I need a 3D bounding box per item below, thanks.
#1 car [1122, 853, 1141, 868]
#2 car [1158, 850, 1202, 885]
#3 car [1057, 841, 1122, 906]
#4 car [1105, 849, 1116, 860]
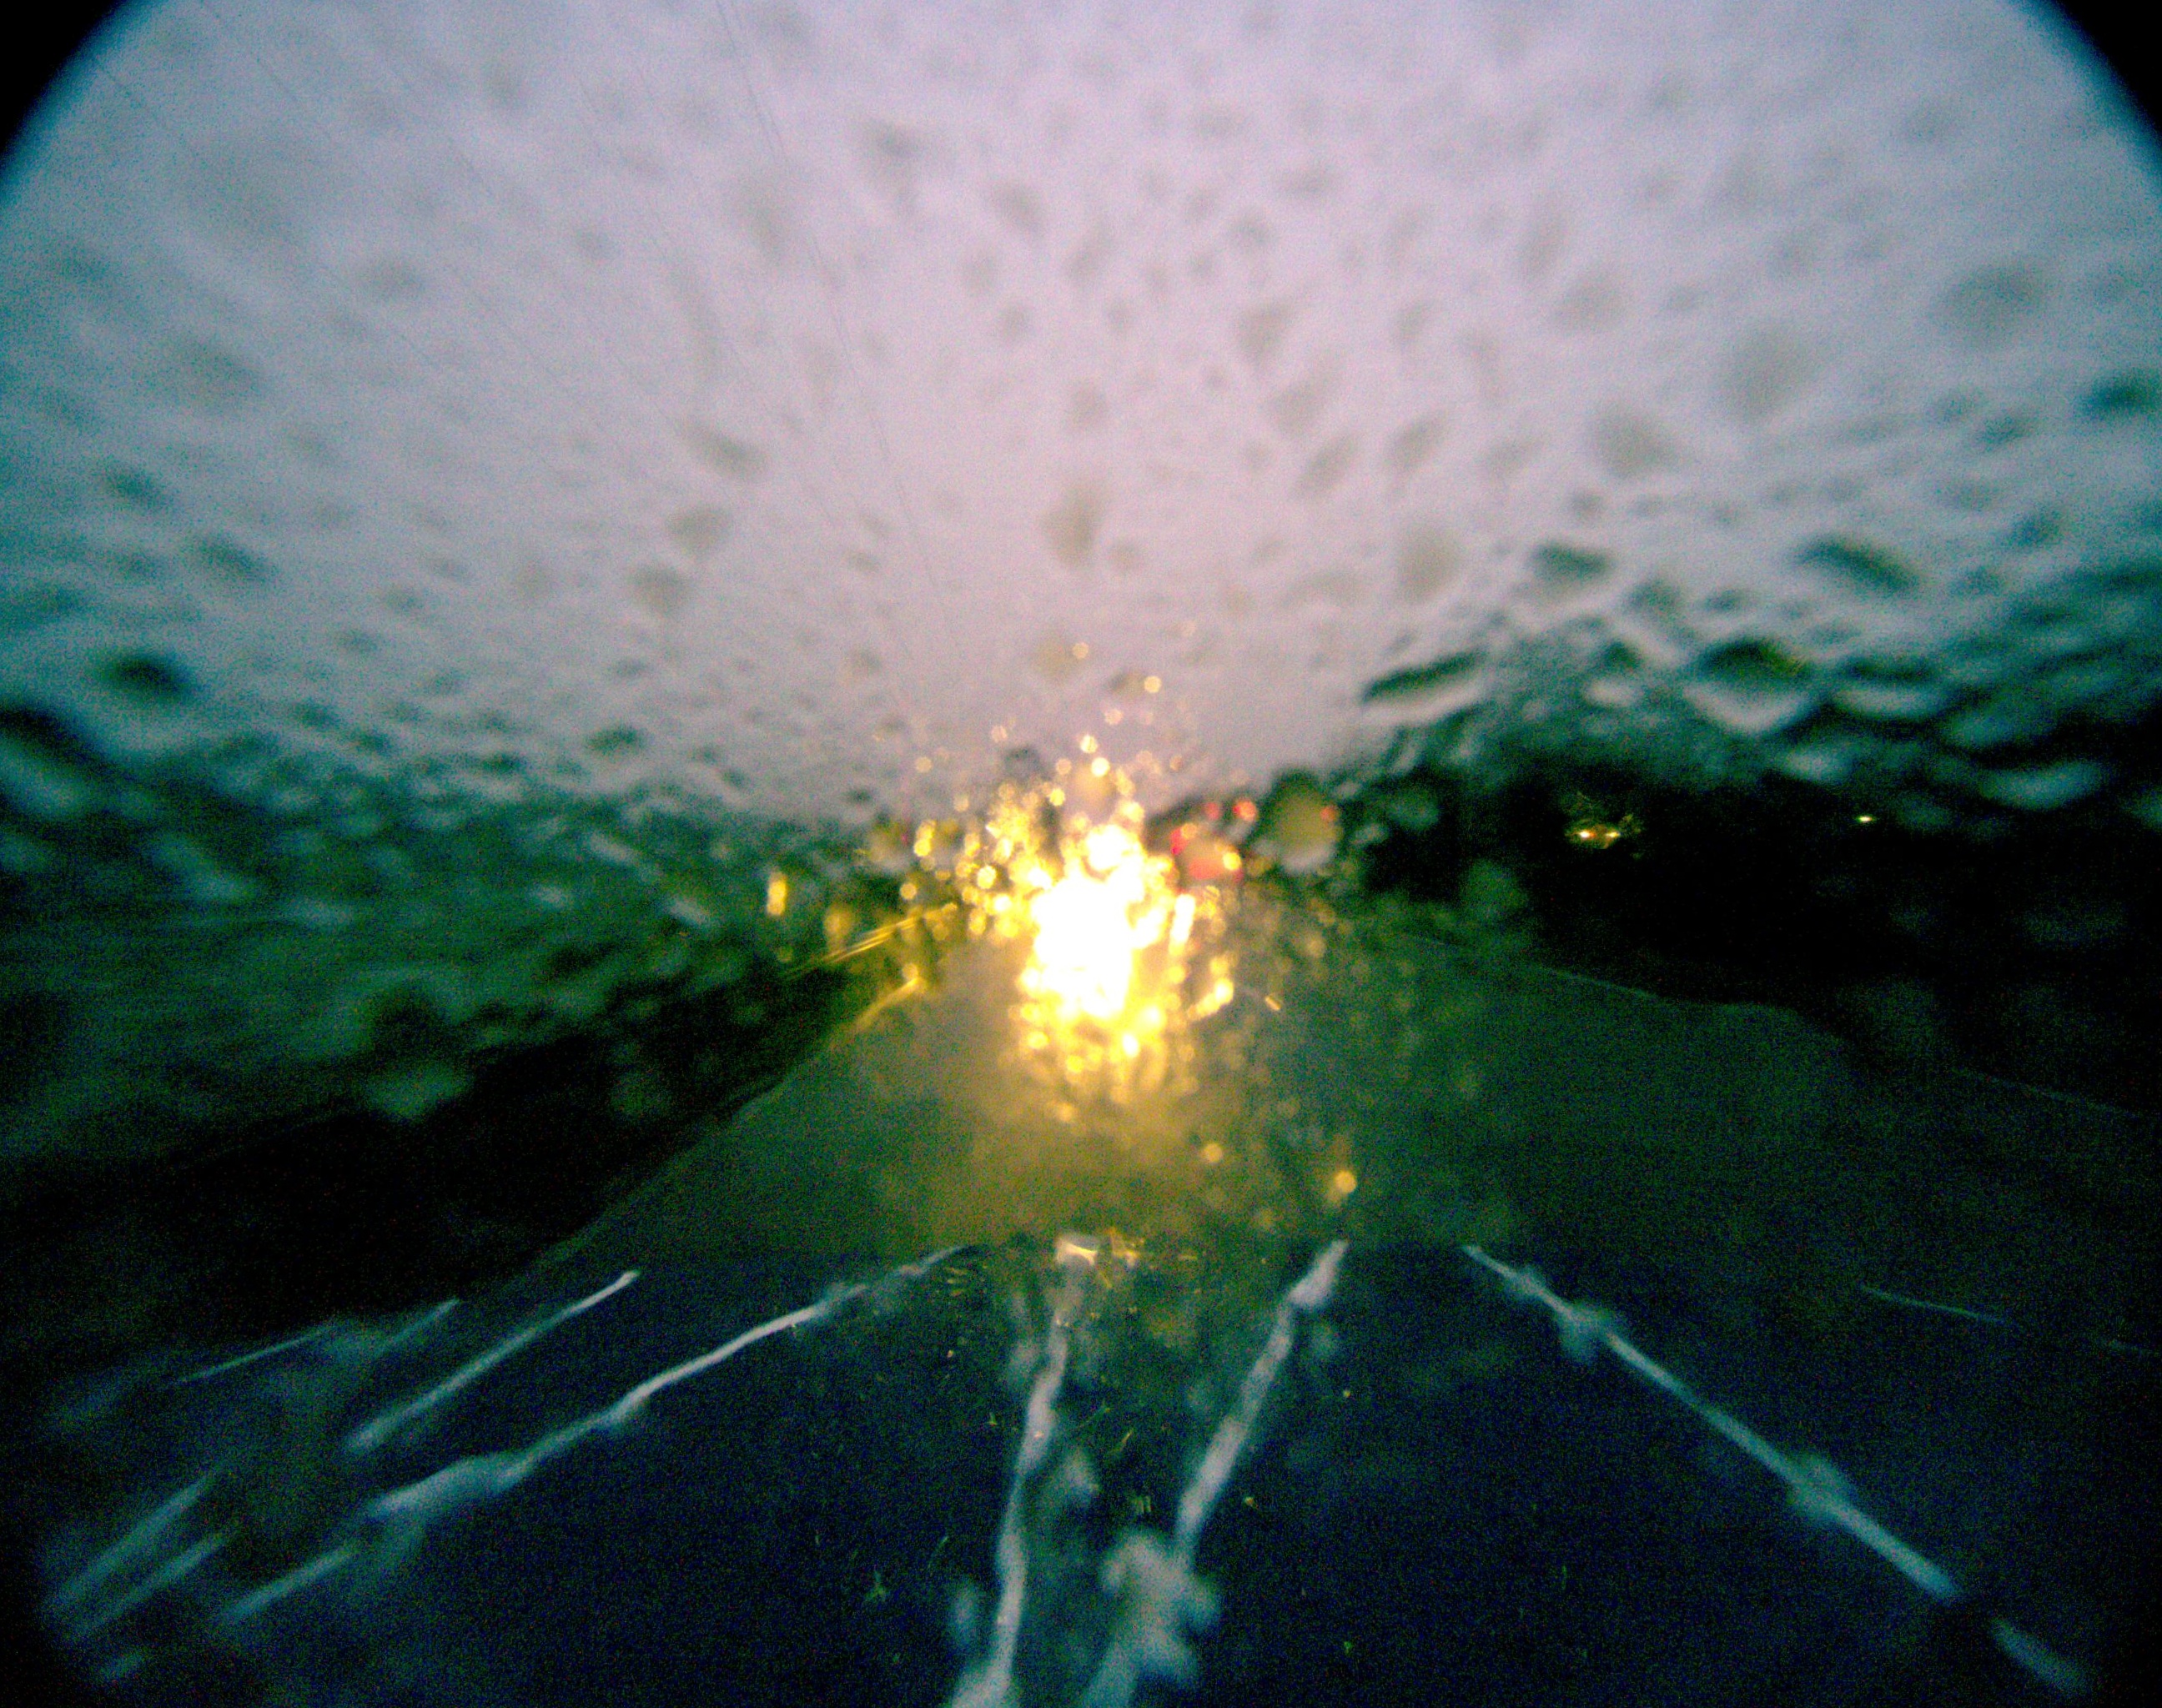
[{"bbox_3d":[5.112,0.611,77.164,1.649,1.455,3.872,-2,0,1],"label":"car"},{"bbox_3d":[4.937,0.649,38.234,1.739,1.604,4.212,-2,0,1],"label":"car"},{"bbox_3d":[0.208,0.591,25.770,1.857,2.002,3.998,-2,1,-3],"label":"car"},{"bbox_3d":[5.697,0.130,147.290,1.999,2.002,4.653,-1,1,0],"label":"car"}]
